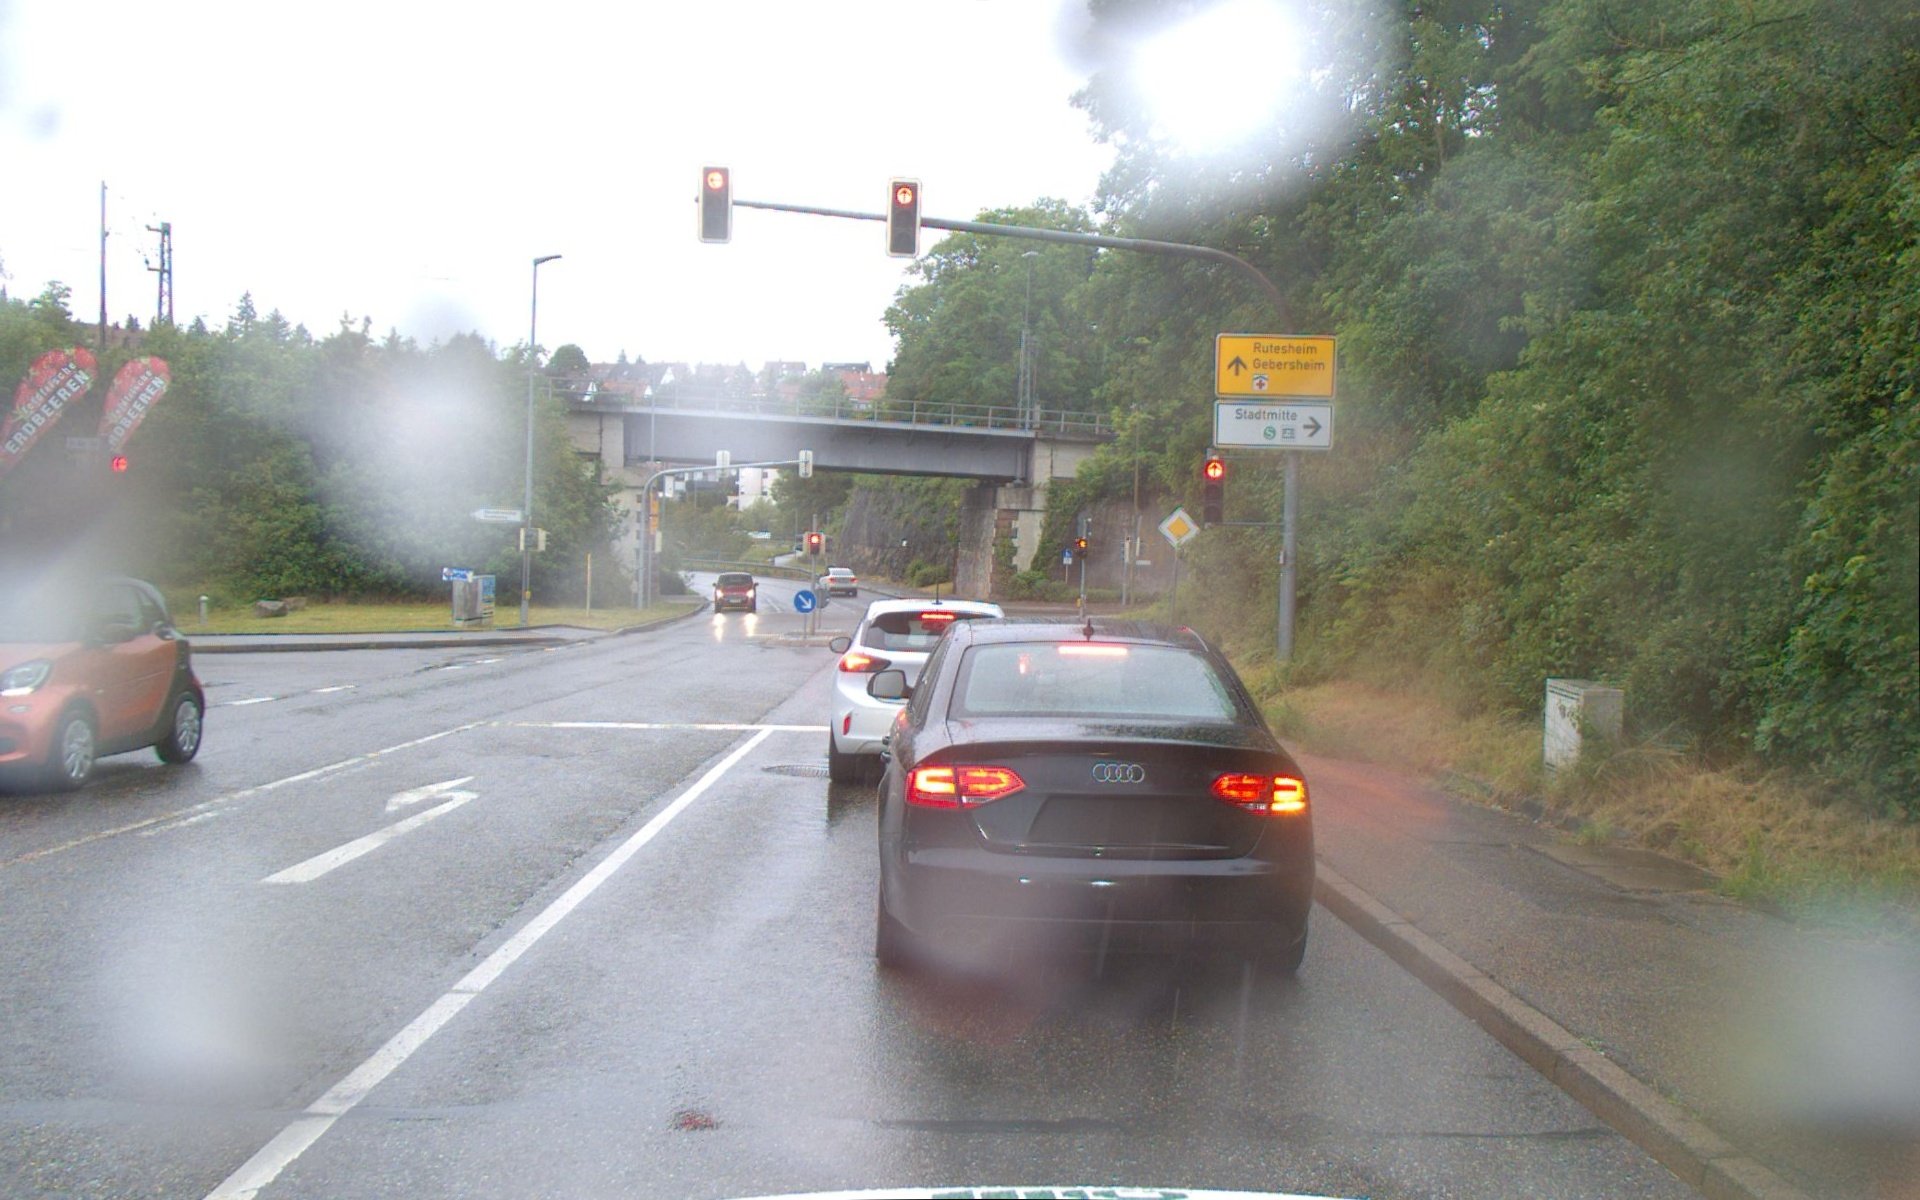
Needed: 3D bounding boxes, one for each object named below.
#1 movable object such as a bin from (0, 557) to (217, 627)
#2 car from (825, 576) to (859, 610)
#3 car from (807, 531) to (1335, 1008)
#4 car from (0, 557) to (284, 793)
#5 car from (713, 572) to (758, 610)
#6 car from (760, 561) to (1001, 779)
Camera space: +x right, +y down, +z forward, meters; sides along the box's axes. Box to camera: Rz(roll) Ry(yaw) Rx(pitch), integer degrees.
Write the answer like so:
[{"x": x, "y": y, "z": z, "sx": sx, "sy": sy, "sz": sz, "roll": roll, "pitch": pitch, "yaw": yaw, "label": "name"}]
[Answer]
[{"x": -22.406, "y": -0.163, "z": 42.178, "sx": 2.699, "sy": 1.656, "sz": 5.752, "roll": 0, "pitch": -1, "yaw": 39, "label": "movable object such as a bin"}, {"x": -6.692, "y": -0.369, "z": 93.448, "sx": 1.769, "sy": 1.773, "sz": 4.475, "roll": 1, "pitch": -1, "yaw": -5, "label": "car"}, {"x": 0.354, "y": 0.571, "z": 7.728, "sx": 1.832, "sy": 1.645, "sz": 3.999, "roll": 0, "pitch": 0, "yaw": -1, "label": "car"}, {"x": -7.237, "y": 0.534, "z": 13.326, "sx": 1.953, "sy": 1.613, "sz": 3.999, "roll": 1, "pitch": -1, "yaw": -1, "label": "car"}, {"x": -10.173, "y": -0.406, "z": 75.080, "sx": 1.956, "sy": 1.657, "sz": 3.993, "roll": 0, "pitch": 0, "yaw": -8, "label": "car"}, {"x": -0.626, "y": 0.558, "z": 14.431, "sx": 1.786, "sy": 1.613, "sz": 3.999, "roll": 1, "pitch": -1, "yaw": -1, "label": "car"}]
